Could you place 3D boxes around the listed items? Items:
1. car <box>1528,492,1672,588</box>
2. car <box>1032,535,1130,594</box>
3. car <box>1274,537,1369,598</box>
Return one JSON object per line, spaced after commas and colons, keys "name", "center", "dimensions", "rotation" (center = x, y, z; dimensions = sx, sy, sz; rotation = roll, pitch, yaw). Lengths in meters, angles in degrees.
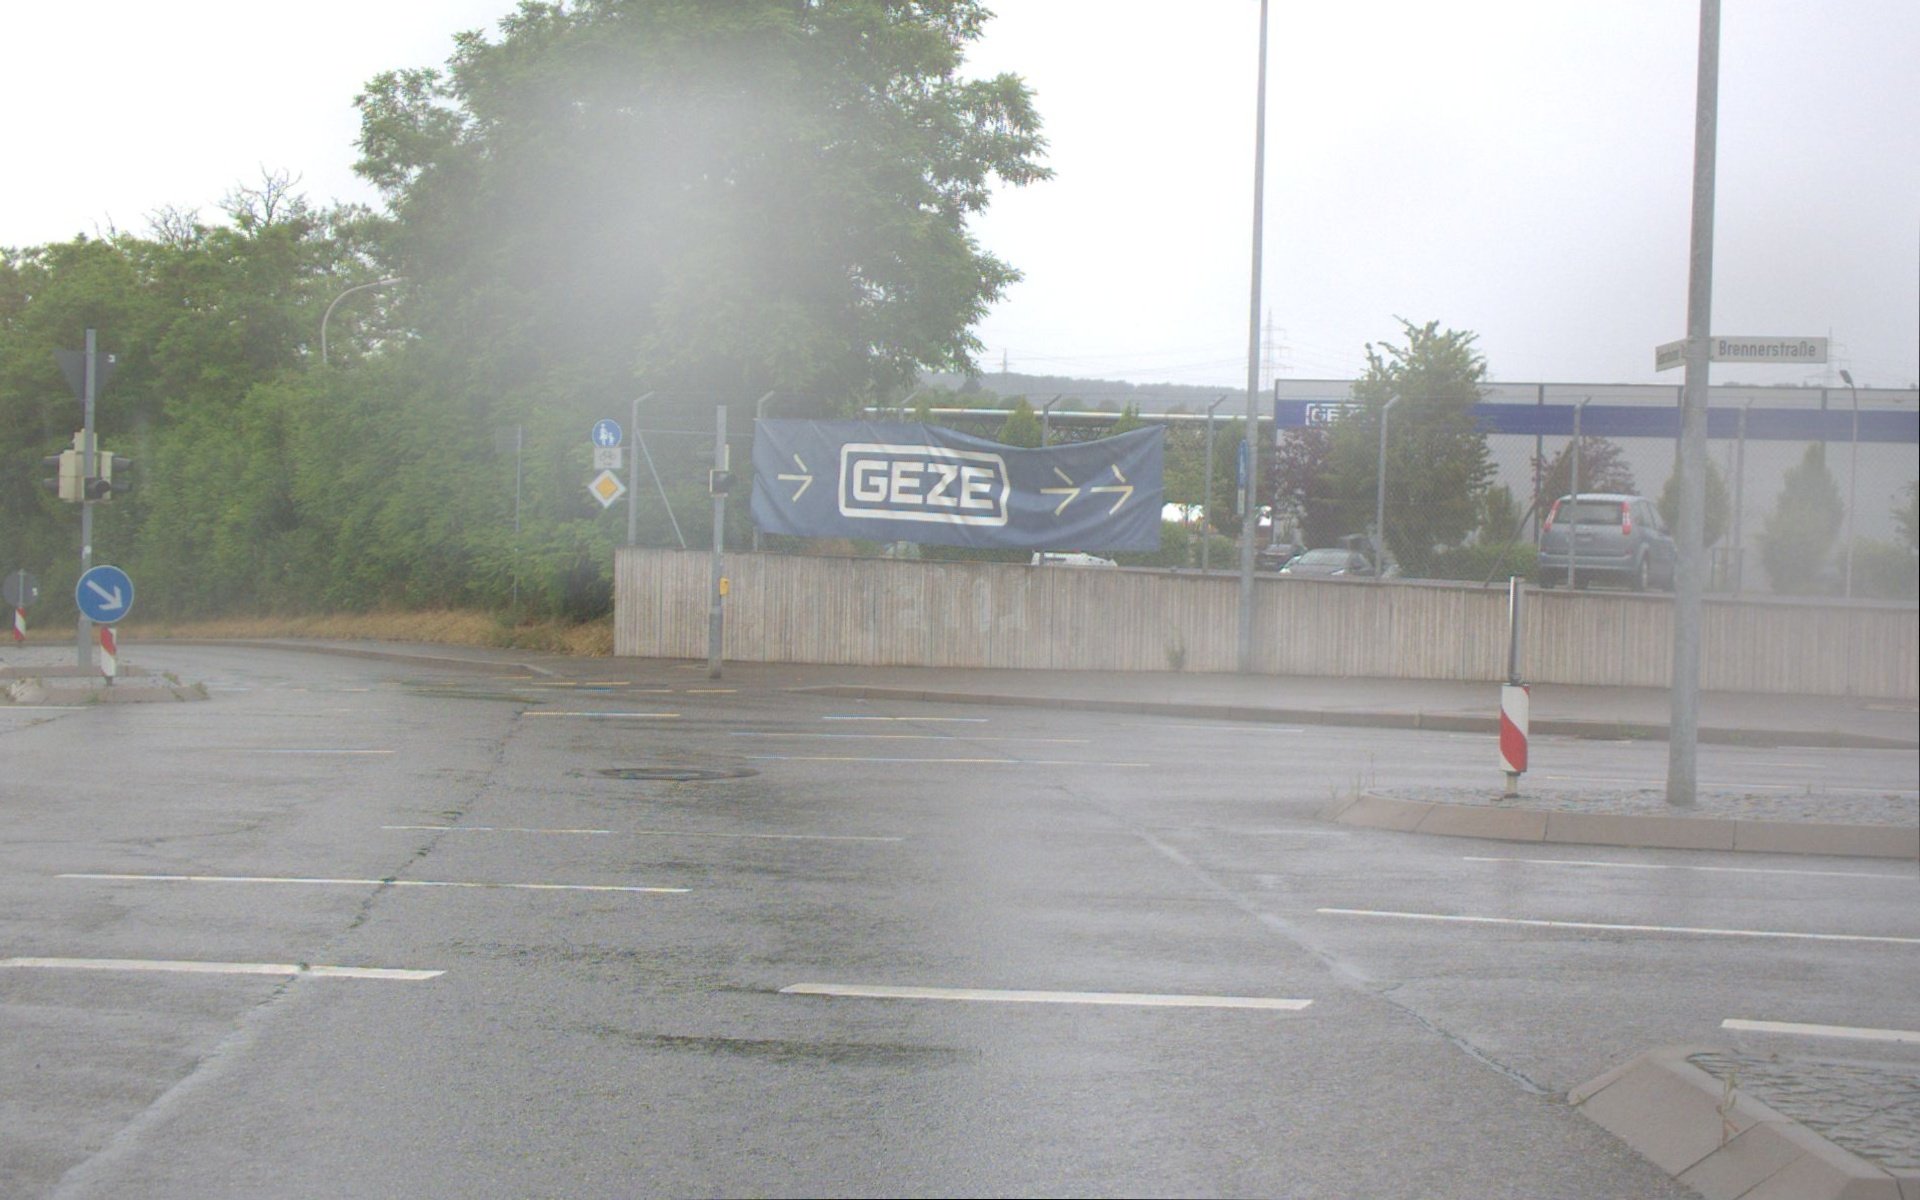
{"name": "car", "center": [10.721, -0.985, 57.432], "dimensions": [1.744, 1.548, 3.527], "rotation": [1, 1, 21]}
{"name": "car", "center": [3.407, -0.992, 95.898], "dimensions": [1.668, 1.601, 3.527], "rotation": [1, 1, 21]}
{"name": "car", "center": [9.761, -0.873, 92.596], "dimensions": [1.668, 1.601, 3.527], "rotation": [1, 1, 21]}
